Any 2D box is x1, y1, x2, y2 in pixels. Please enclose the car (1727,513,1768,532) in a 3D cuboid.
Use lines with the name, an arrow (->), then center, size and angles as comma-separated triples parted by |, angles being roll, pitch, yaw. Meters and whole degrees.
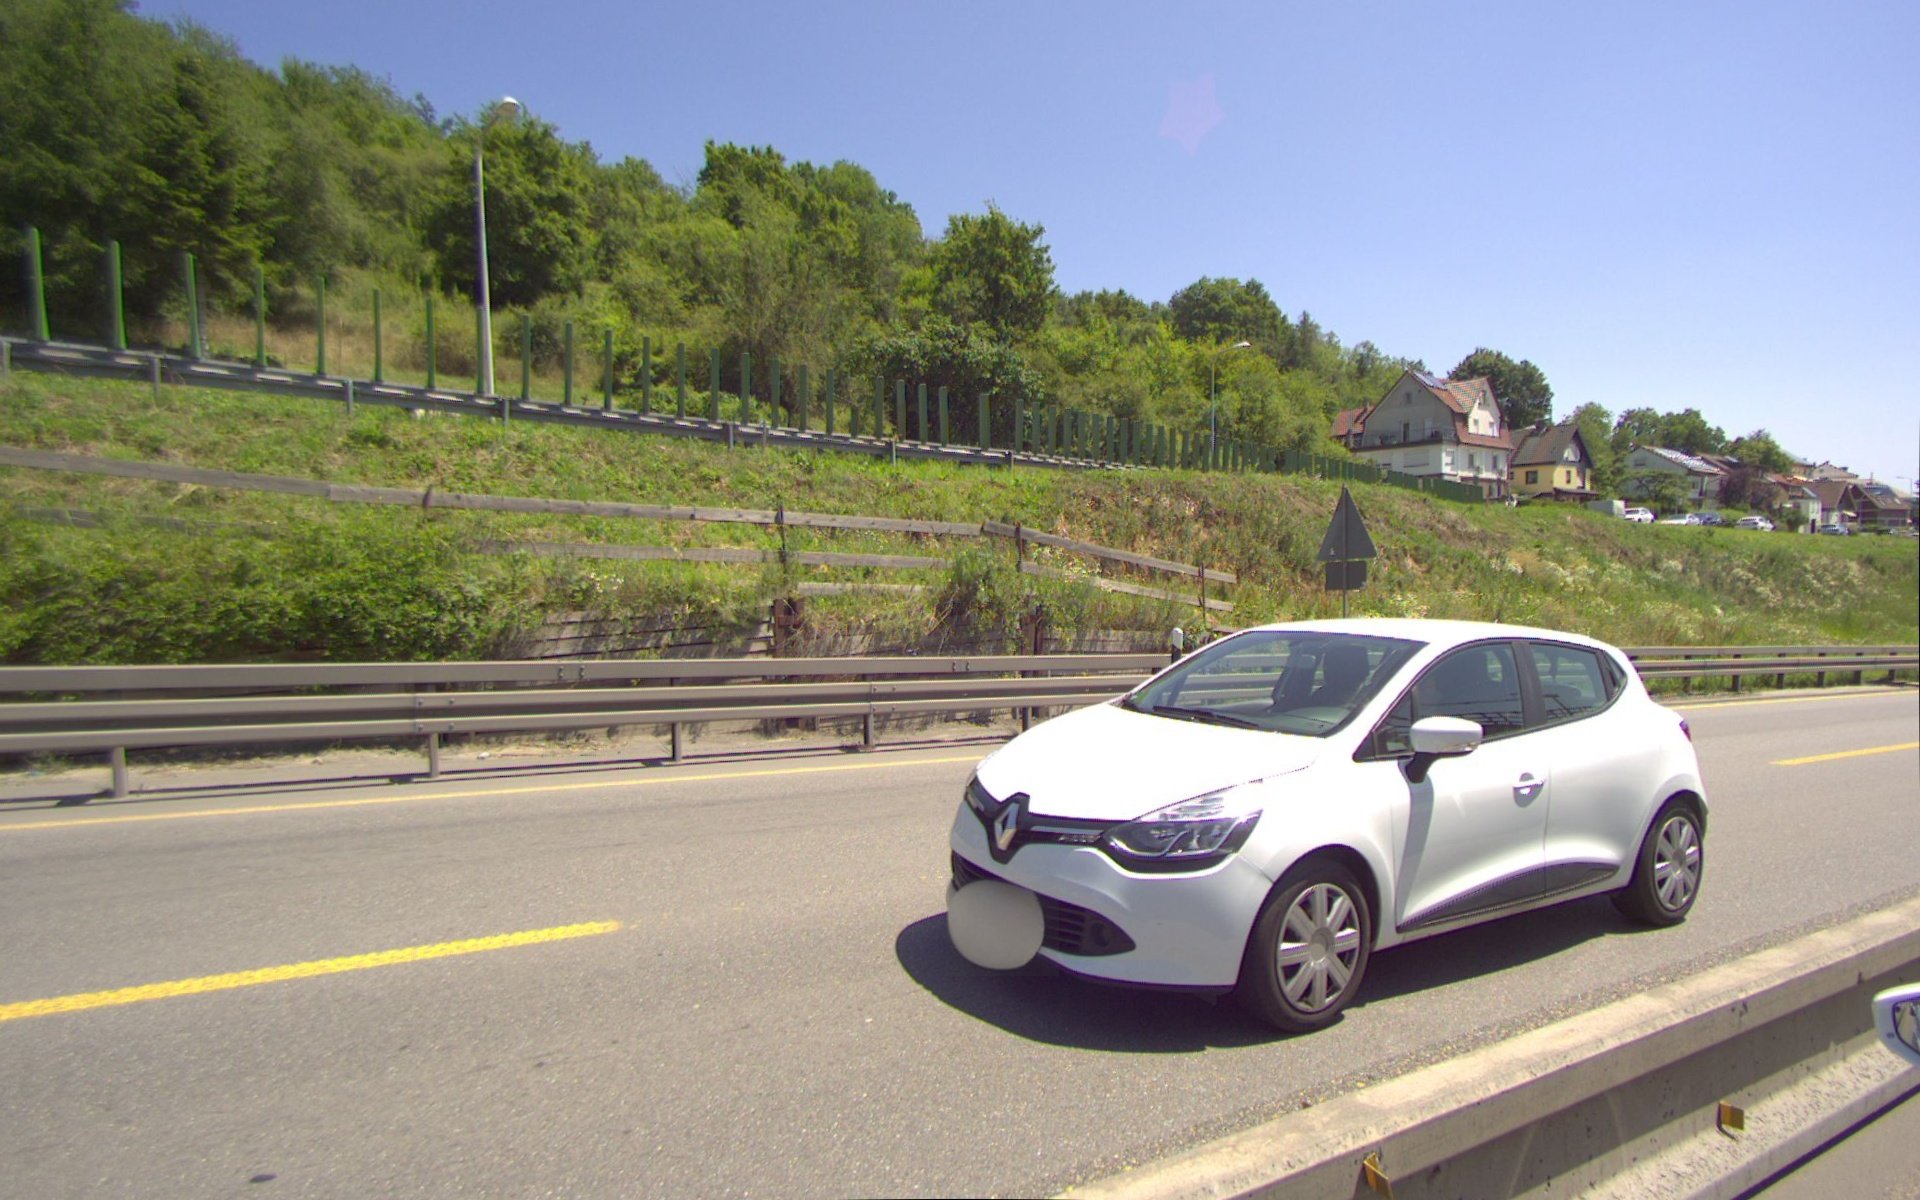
car -> 68.056, -6.683, 86.784 | 3.969, 1.337, 1.976 | 1, 4, -41

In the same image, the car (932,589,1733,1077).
car -> 1.889, 0.749, 4.814 | 3.708, 1.506, 1.682 | 1, 0, -32

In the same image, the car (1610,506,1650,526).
car -> 46.781, -5.847, 70.118 | 3.243, 1.052, 1.271 | 1, 0, -36

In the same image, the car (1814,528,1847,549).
car -> 84.551, -5.953, 97.556 | 3.968, 1.751, 1.908 | 1, 0, -41

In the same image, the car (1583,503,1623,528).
car -> 43.356, -5.676, 67.673 | 1.707, 1.417, 3.782 | 4, 2, 41
